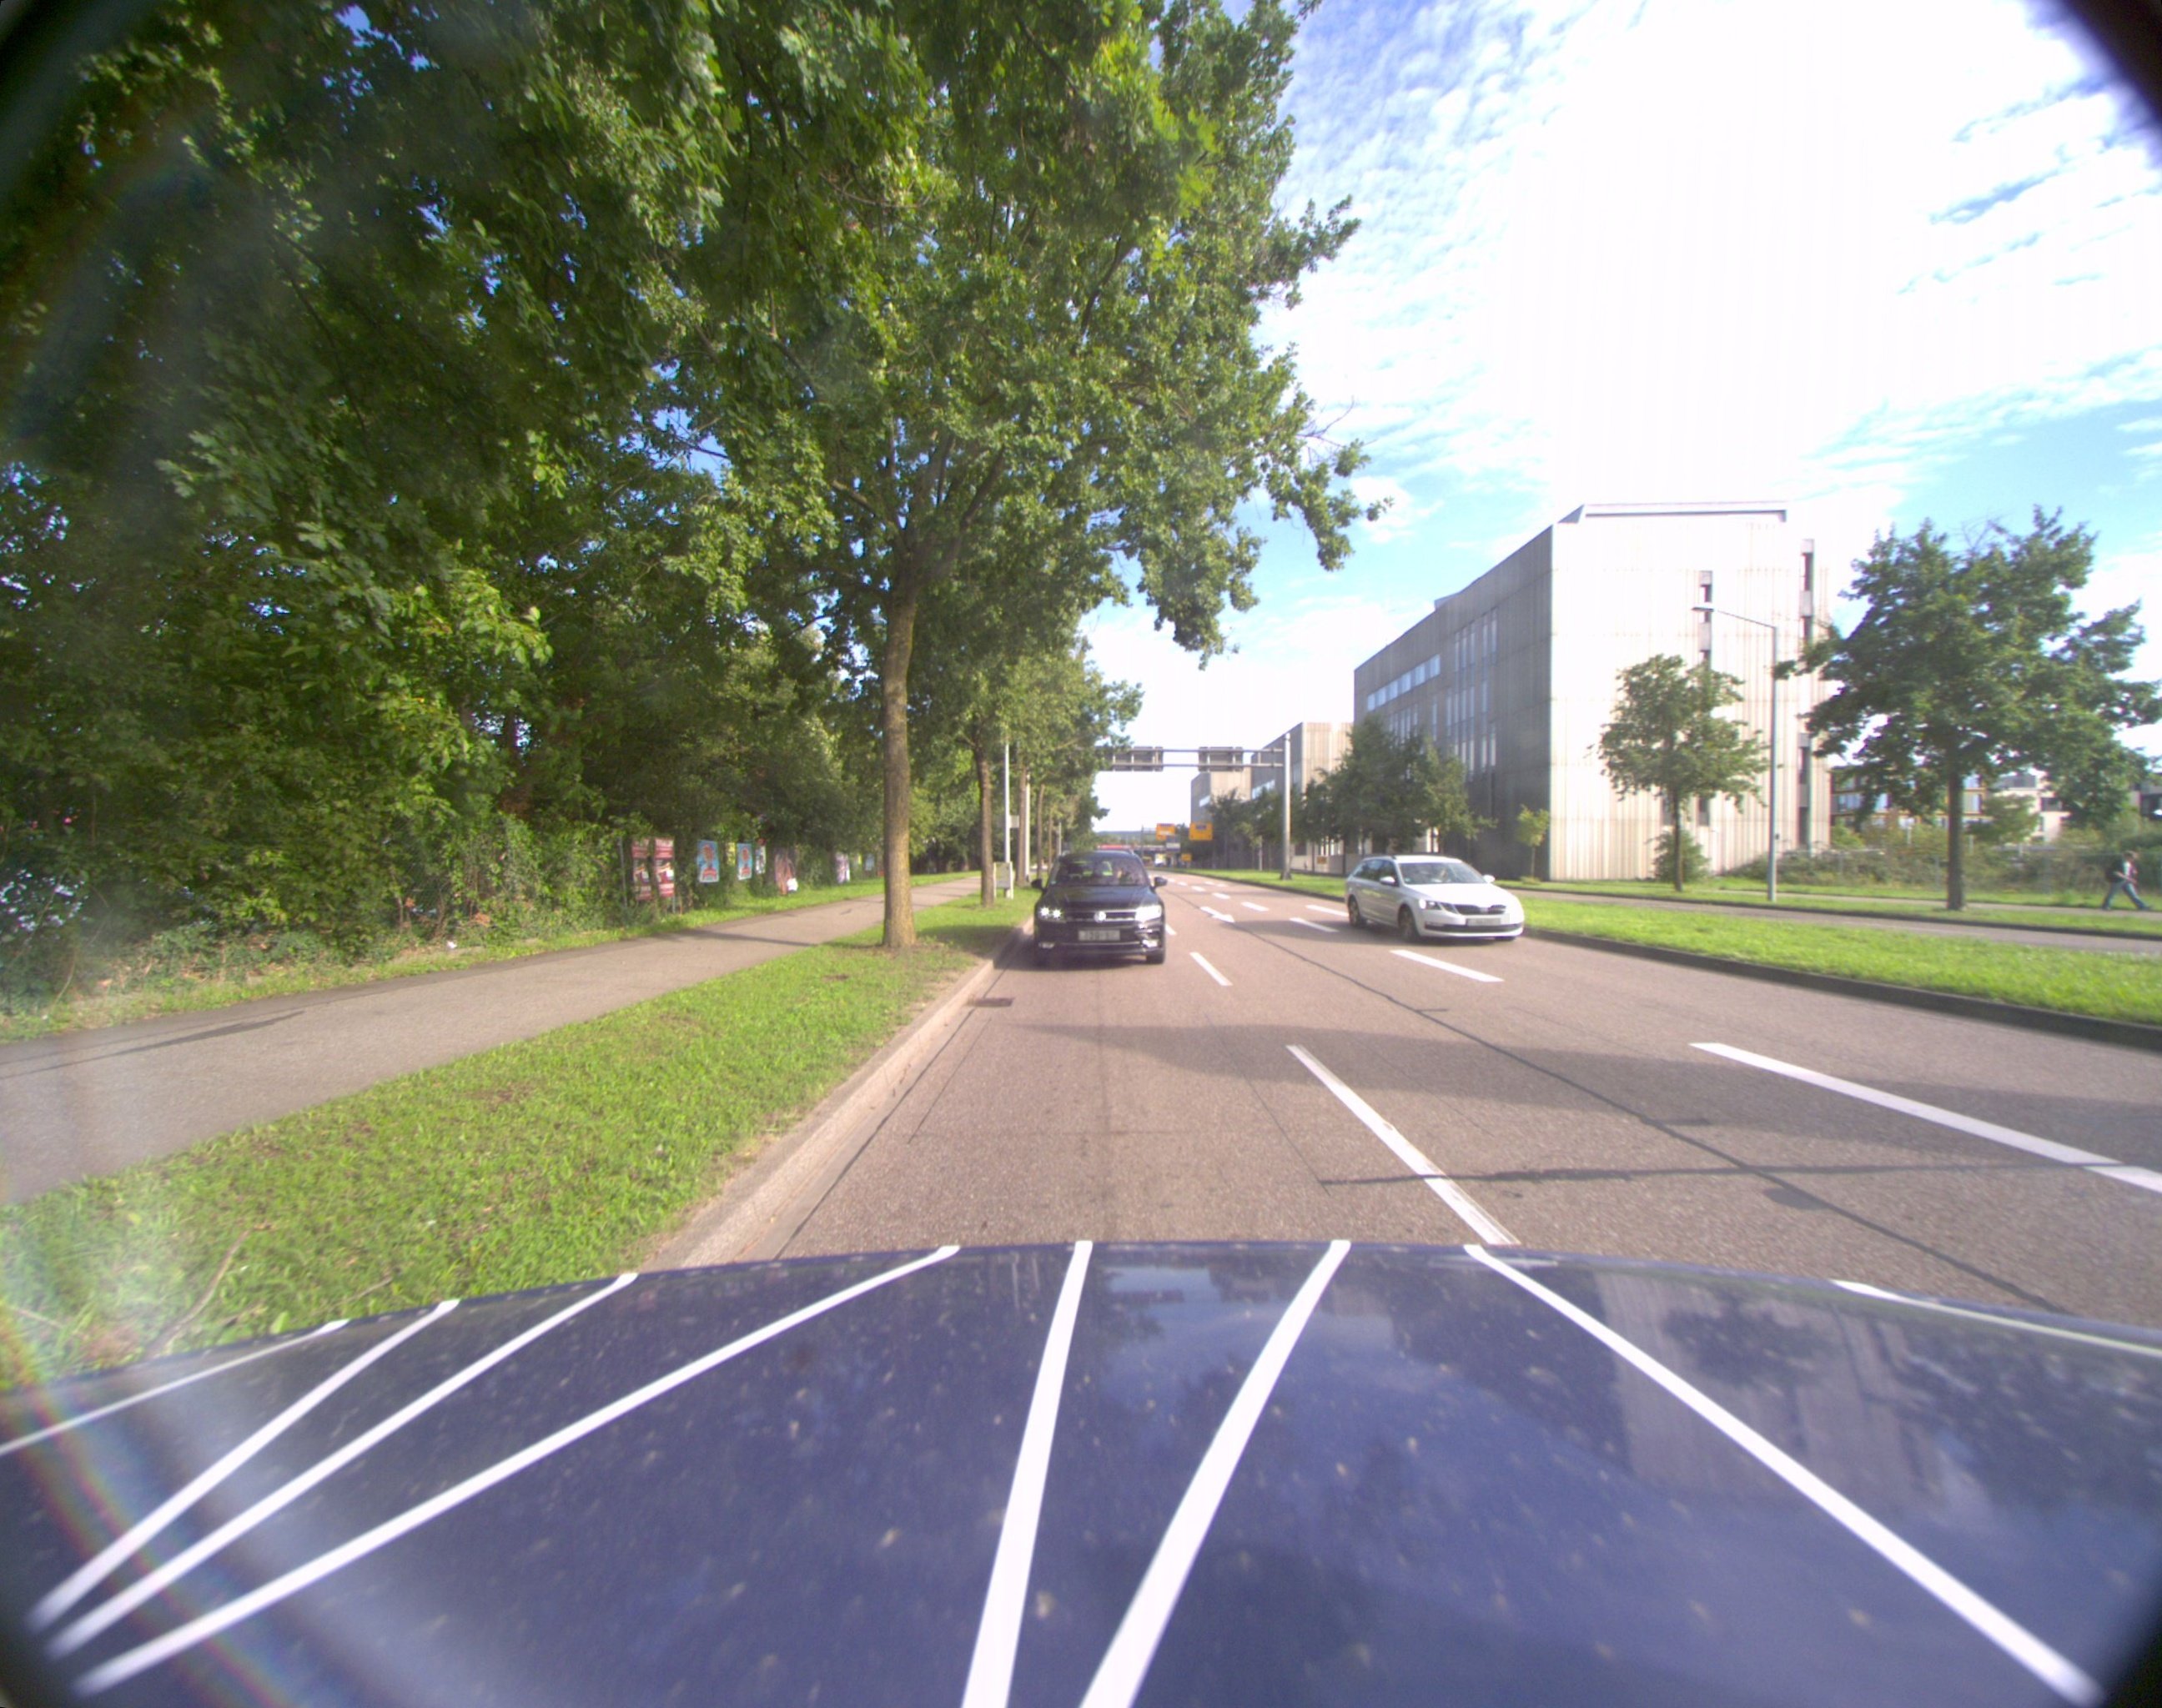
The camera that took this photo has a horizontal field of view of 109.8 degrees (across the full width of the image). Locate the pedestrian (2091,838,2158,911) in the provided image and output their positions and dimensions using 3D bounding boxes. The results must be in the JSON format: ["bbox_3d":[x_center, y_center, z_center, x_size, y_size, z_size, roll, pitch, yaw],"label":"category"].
[{"bbox_3d":[29.409,0.573,21.433,0.676,2.002,0.867,0,0,0],"label":"pedestrian"}]

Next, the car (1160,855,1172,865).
[{"bbox_3d":[17.385,1.155,155.765,1.998,2.002,4.000,0,0,0],"label":"car"}]

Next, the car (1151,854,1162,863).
[{"bbox_3d":[17.146,0.937,172.177,1.998,2.002,3.983,0,0,0],"label":"car"}]

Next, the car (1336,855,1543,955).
[{"bbox_3d":[6.264,0.793,13.910,1.702,1.490,4.481,-1,0,1],"label":"car"}]

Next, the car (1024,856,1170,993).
[{"bbox_3d":[0.255,0.885,11.368,1.775,1.637,3.869,-2,0,2],"label":"car"}]
